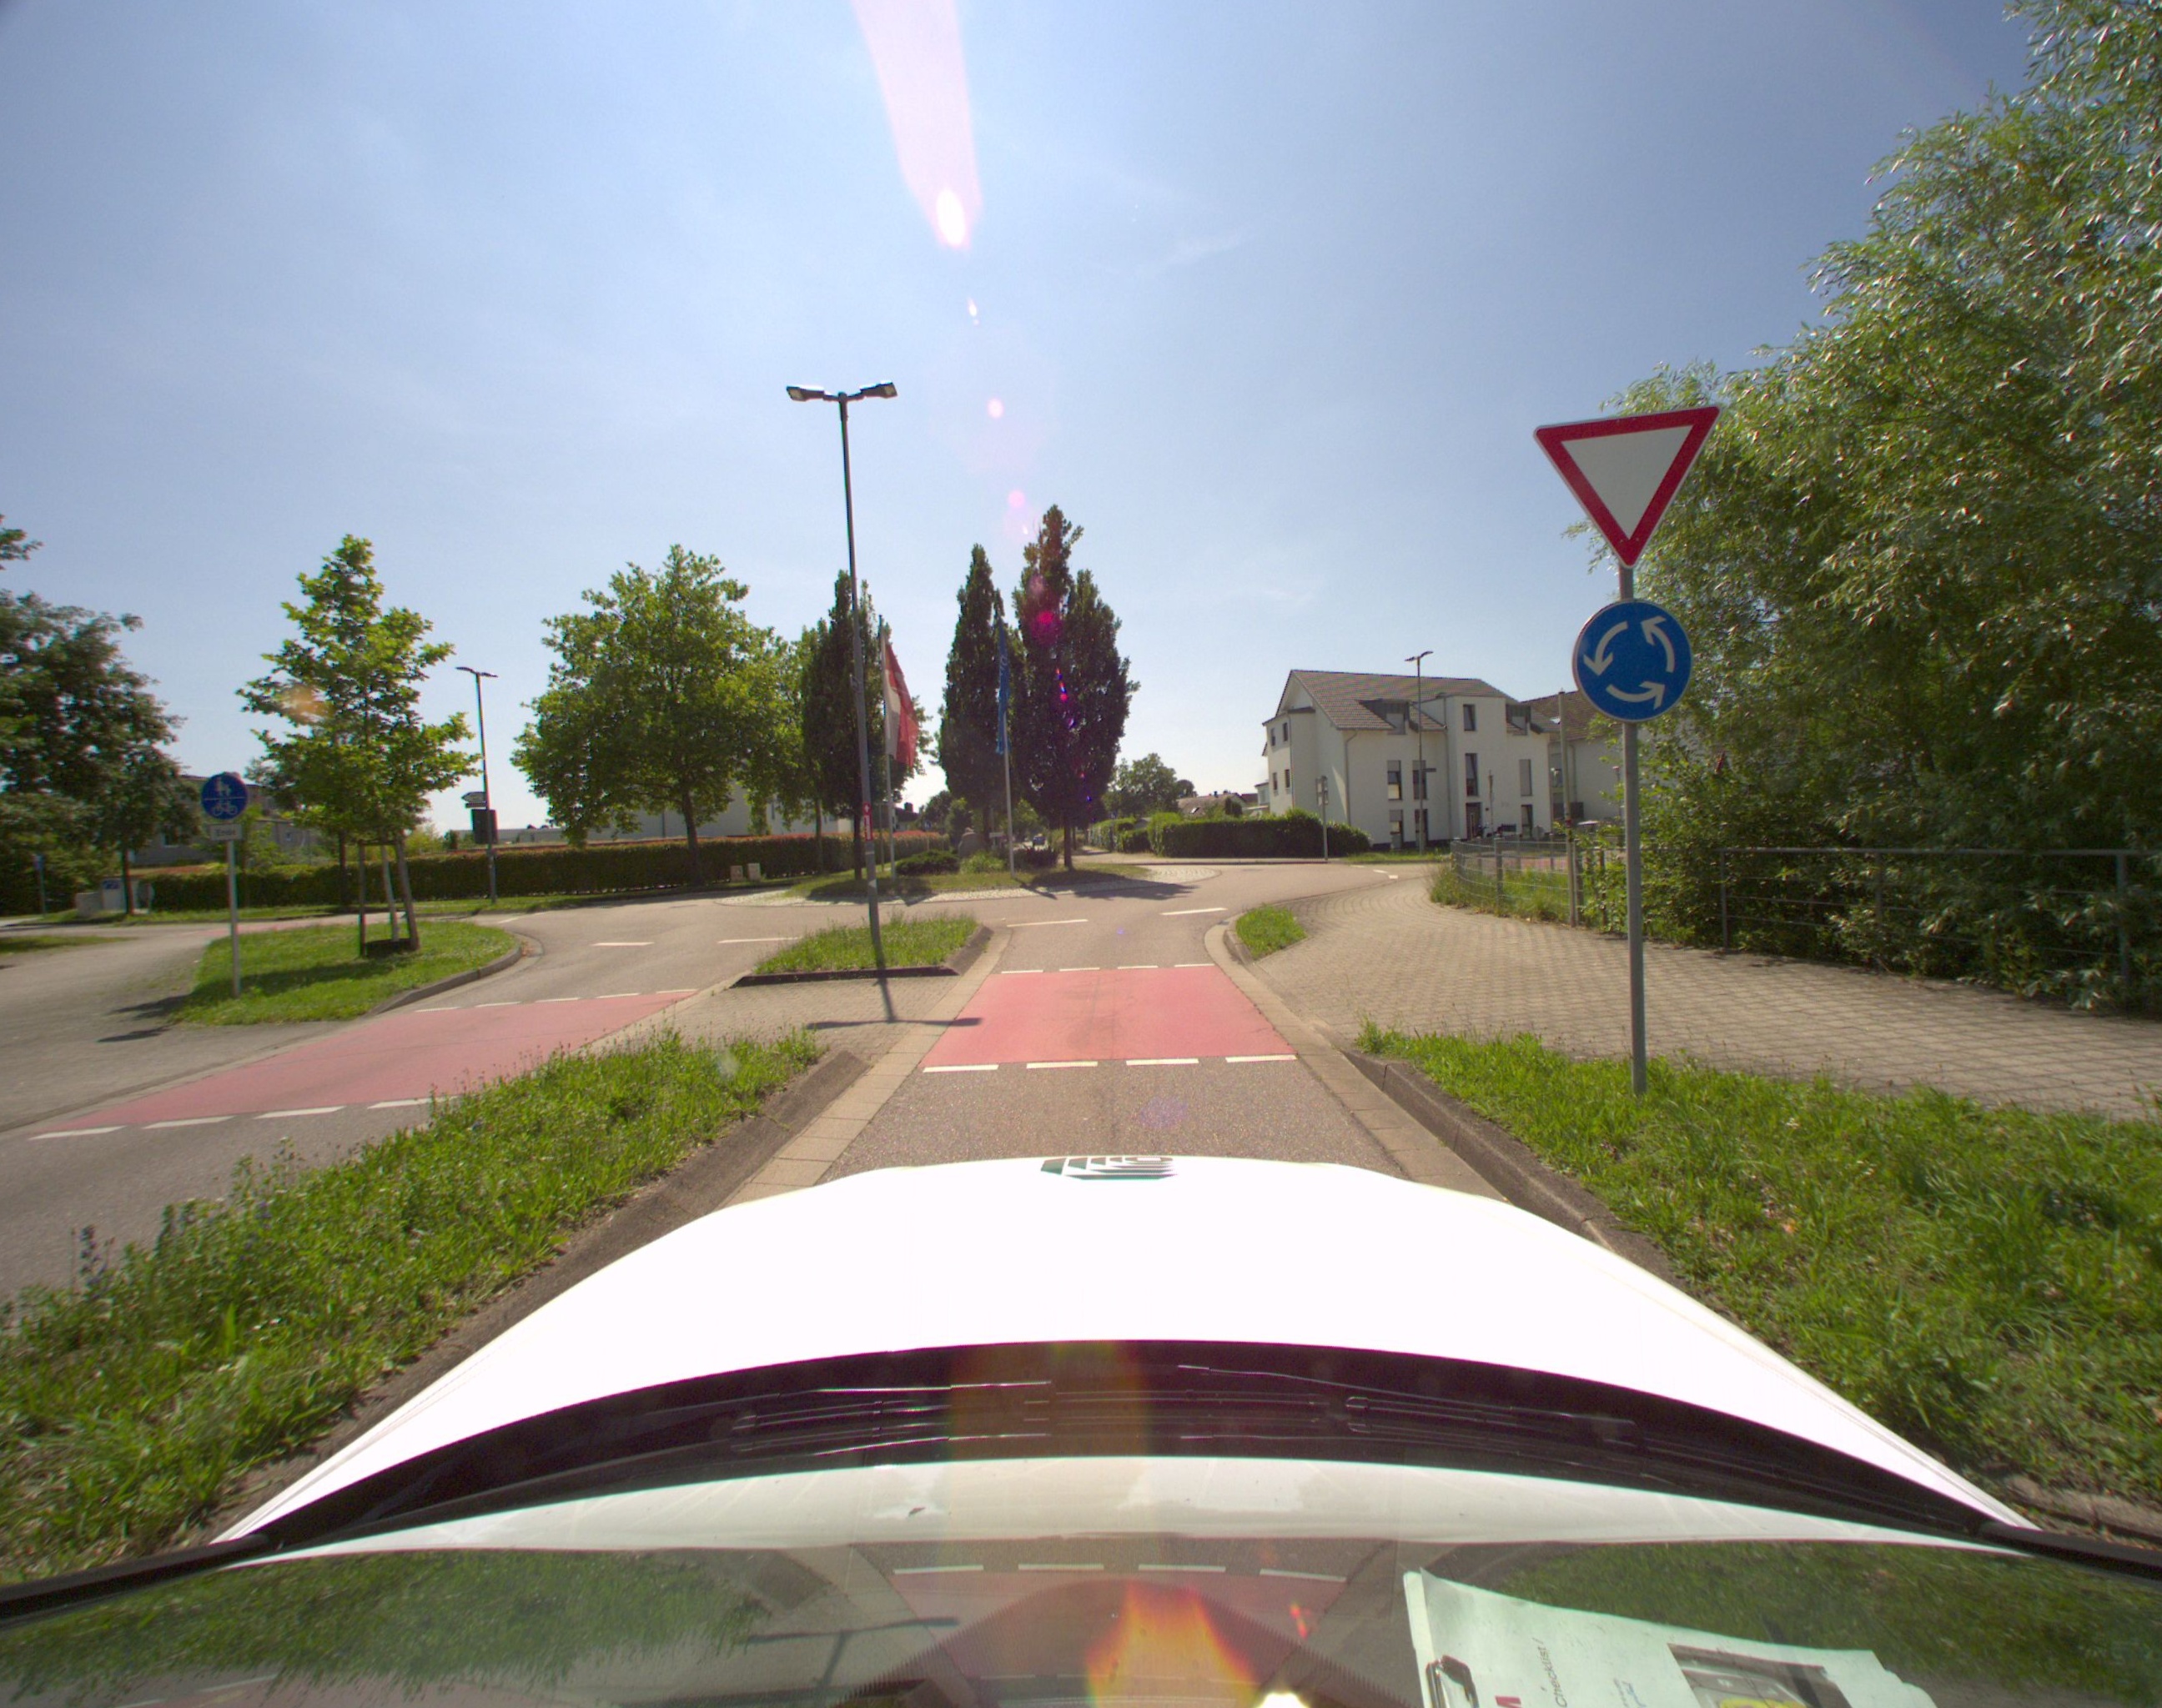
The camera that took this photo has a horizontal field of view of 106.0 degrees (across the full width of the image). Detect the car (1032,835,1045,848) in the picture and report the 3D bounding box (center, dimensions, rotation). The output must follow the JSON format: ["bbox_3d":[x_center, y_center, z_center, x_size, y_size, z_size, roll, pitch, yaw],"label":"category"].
[{"bbox_3d":[-6.569,-1.894,124.875,1.919,1.886,3.996,-2,1,-3],"label":"car"}]

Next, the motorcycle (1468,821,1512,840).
[{"bbox_3d":[22.407,-1.266,44.681,0.672,1.013,2.353,-1,1,-20],"label":"motorcycle"}]

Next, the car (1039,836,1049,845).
[{"bbox_3d":[-7.274,-2.617,160.323,1.988,1.769,3.997,-2,1,-2],"label":"car"}]
